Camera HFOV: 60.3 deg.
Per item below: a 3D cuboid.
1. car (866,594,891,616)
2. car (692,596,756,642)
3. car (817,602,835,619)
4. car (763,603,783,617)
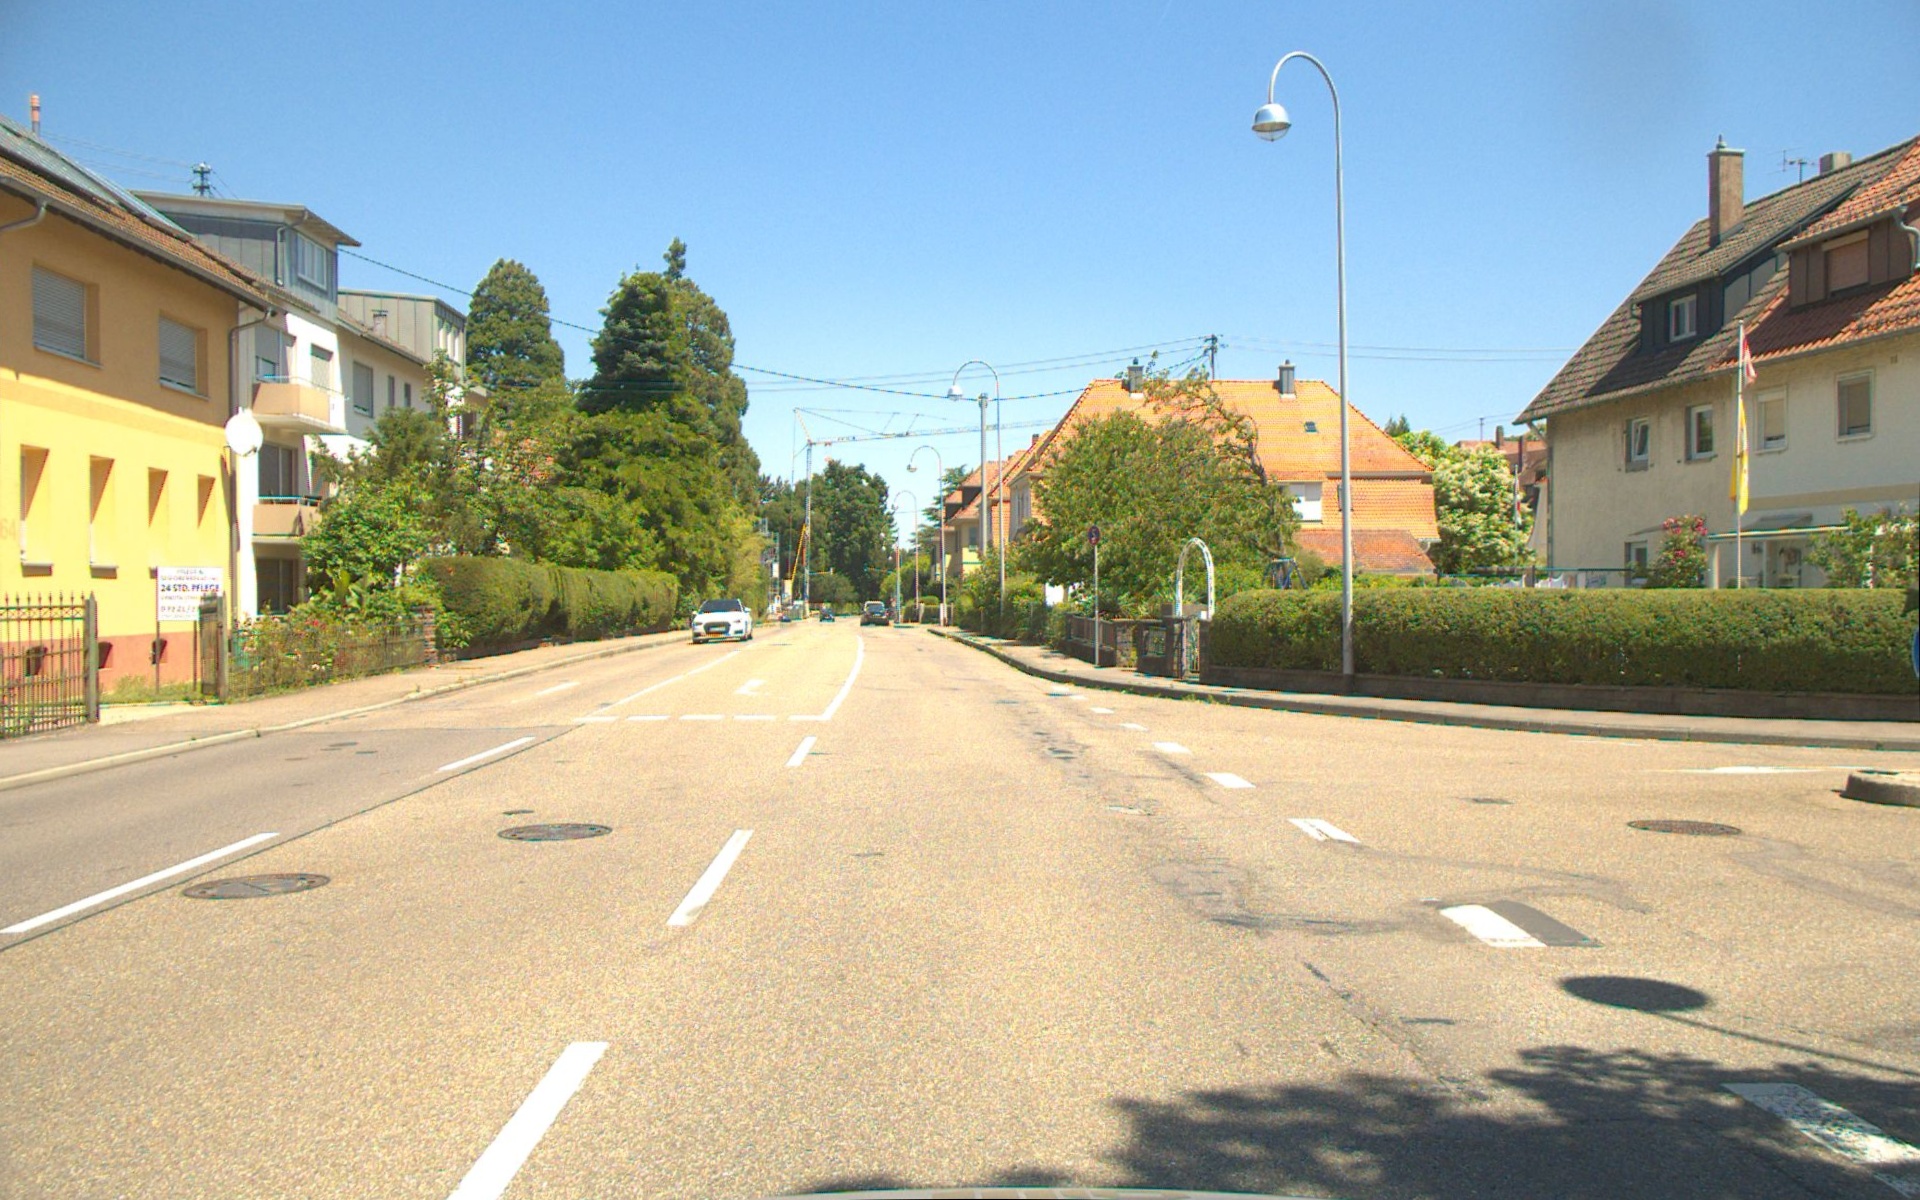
[{"bbox_3d":[-5.788,0.354,116.969,1.659,1.444,4.546,0,-1,-5],"label":"car"},{"bbox_3d":[-7.775,0.607,54.682,1.647,1.396,4.204,-2,0,-3],"label":"car"},{"bbox_3d":[-16.418,1.255,202.695,1.954,1.882,4.709,0,2,-3],"label":"car"},{"bbox_3d":[-19.800,1.051,175.194,1.625,1.413,3.535,-1,-1,2],"label":"car"}]
